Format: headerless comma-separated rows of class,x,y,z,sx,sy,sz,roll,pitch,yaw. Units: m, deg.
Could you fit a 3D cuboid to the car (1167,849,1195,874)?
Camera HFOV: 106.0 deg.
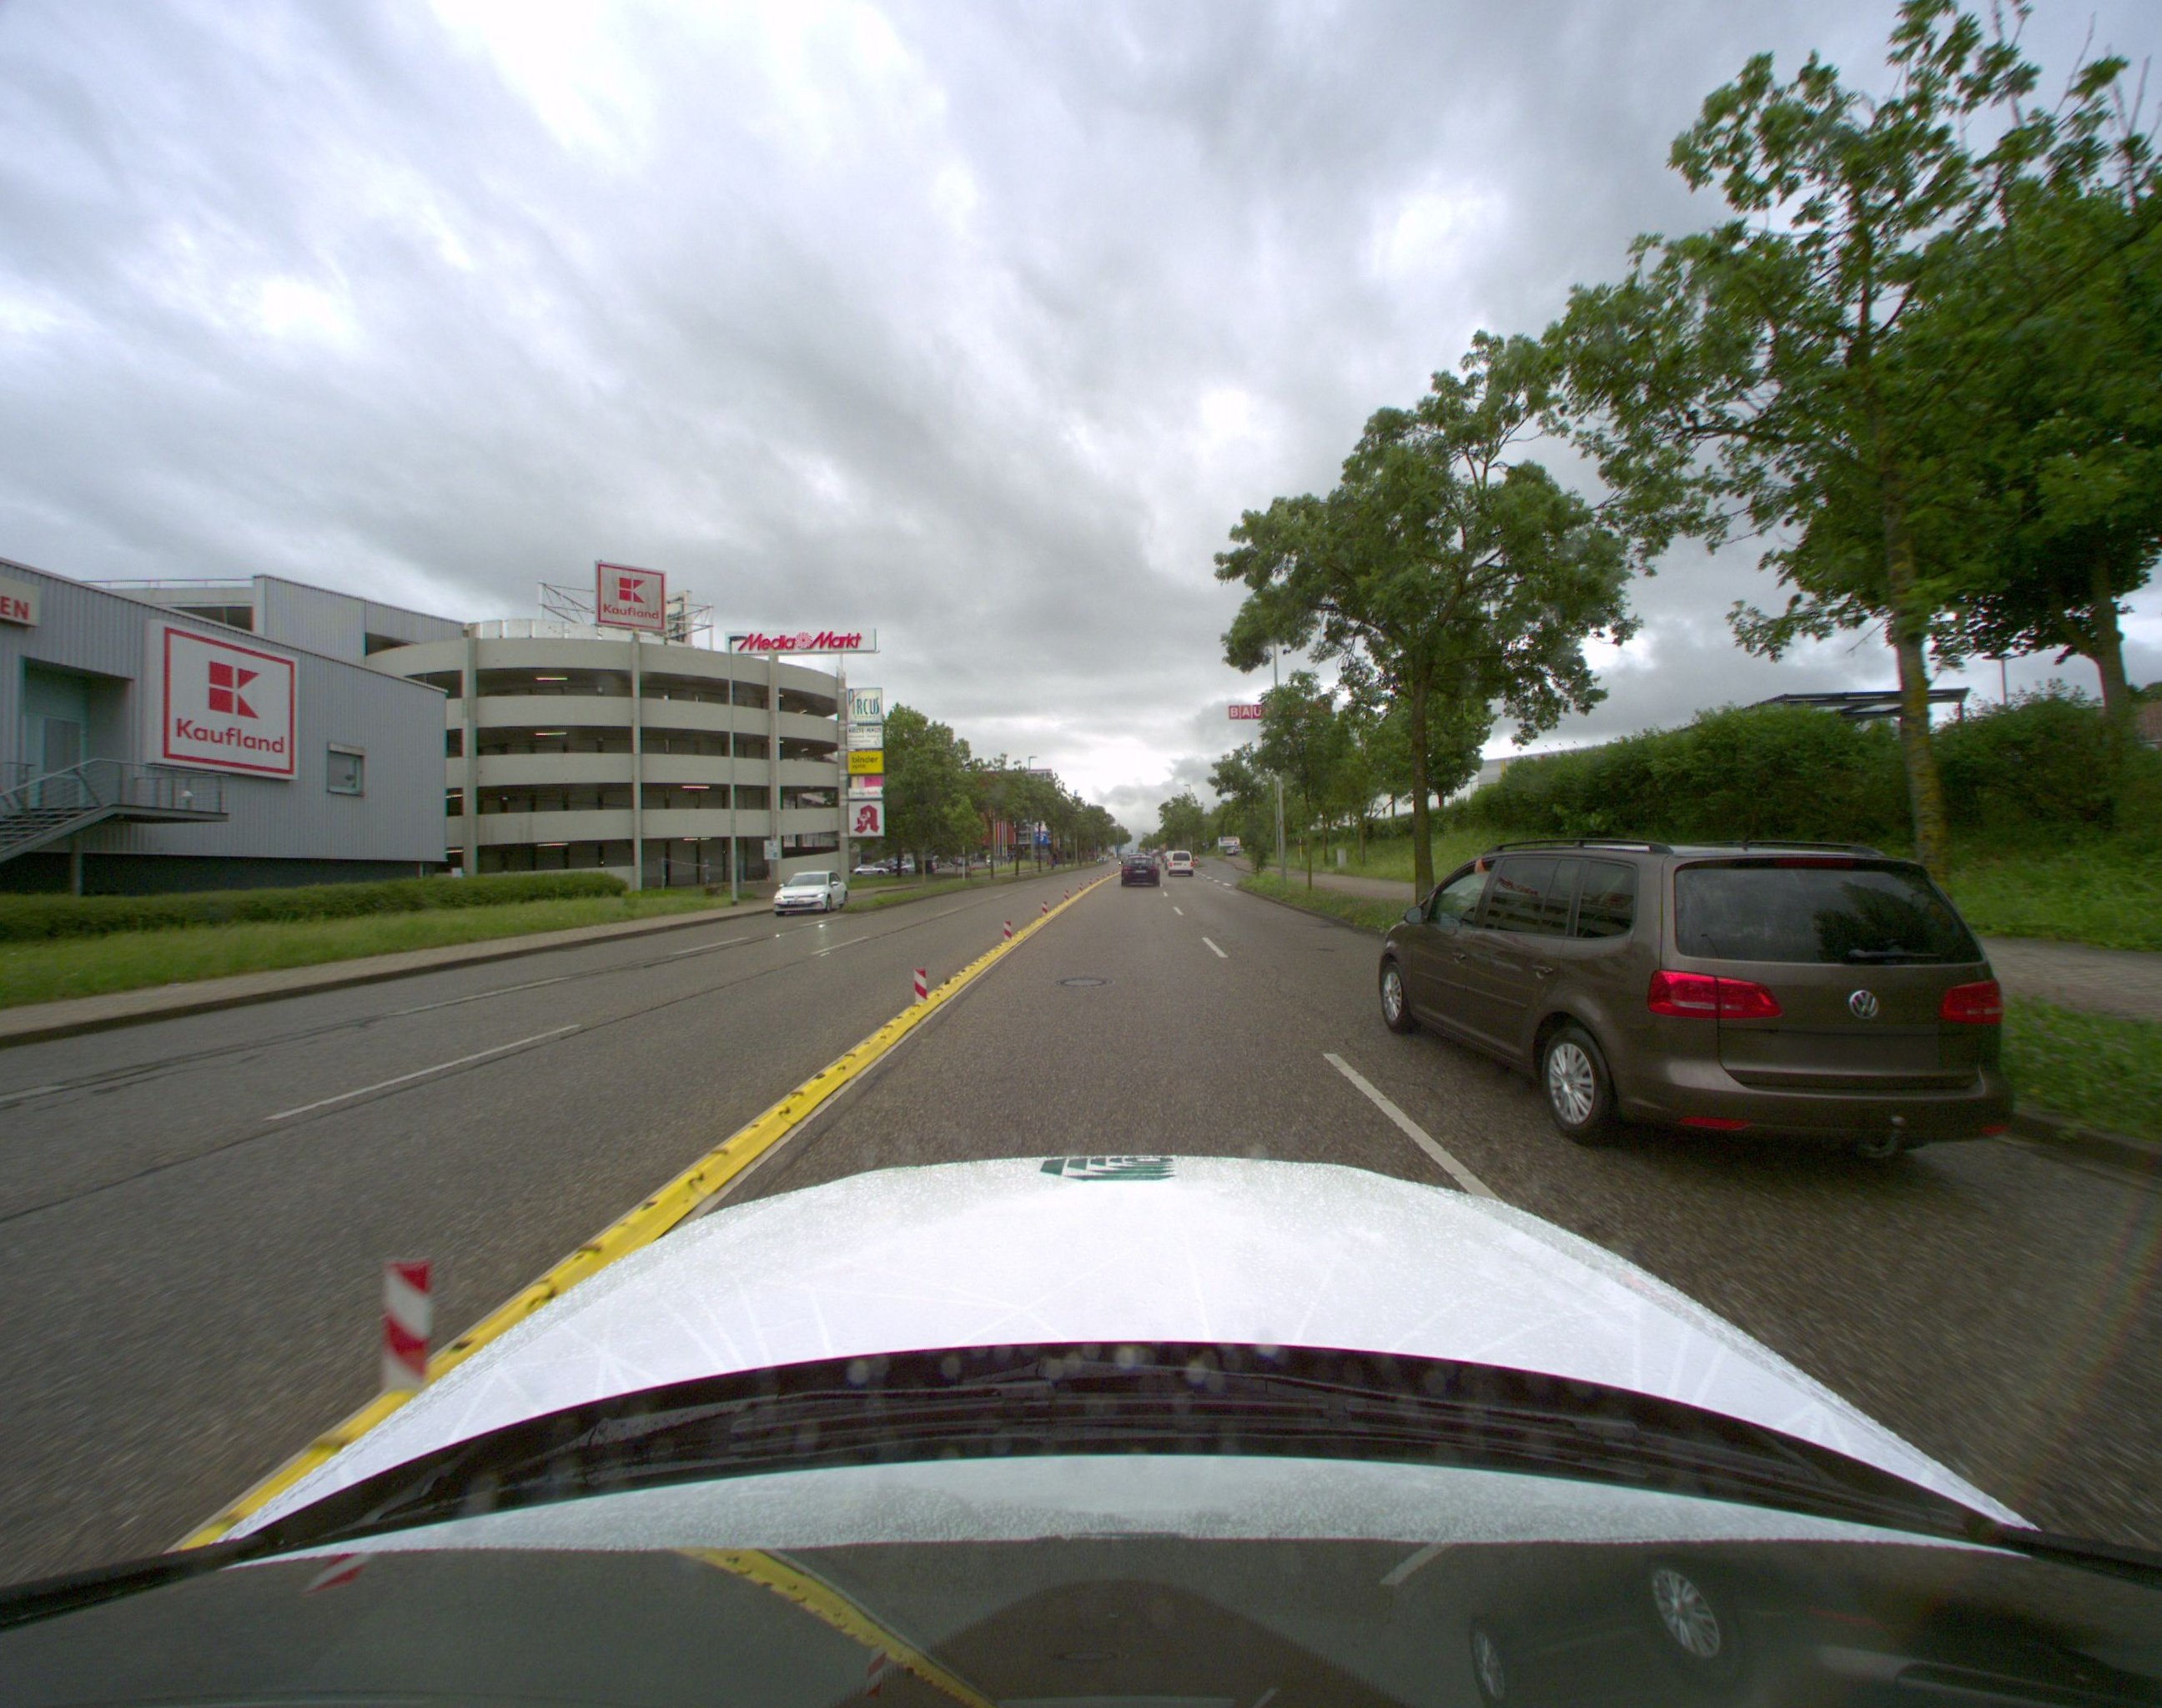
car,7.196,0.517,58.915,1.819,1.759,4.005,0,0,4

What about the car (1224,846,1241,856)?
car,25.181,-0.470,135.522,1.778,1.510,4.023,0,-1,26

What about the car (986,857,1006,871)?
car,-11.964,1.391,114.903,2.031,1.762,4.949,0,1,2

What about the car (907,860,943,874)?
car,-20.826,1.697,108.594,4.489,1.745,1.898,-1,1,-3

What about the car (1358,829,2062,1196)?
car,3.433,0.685,5.627,1.679,1.581,4.219,0,0,1

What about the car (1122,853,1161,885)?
car,2.960,0.706,39.899,1.819,1.468,4.005,0,0,4

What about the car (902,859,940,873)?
car,-20.752,1.576,105.750,4.588,1.745,1.965,-1,1,-3

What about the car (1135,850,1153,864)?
car,6.777,0.358,87.637,1.786,1.510,4.003,0,-1,3

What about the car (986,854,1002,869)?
car,-12.930,1.086,120.672,2.109,2.096,5.116,-1,1,-4

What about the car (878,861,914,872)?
car,-26.029,1.734,114.578,4.600,1.510,2.023,-1,1,-3

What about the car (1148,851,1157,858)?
car,15.475,0.096,177.034,1.787,1.510,4.001,0,-1,2

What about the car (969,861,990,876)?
car,-12.479,1.746,100.465,1.926,1.608,4.711,0,1,0

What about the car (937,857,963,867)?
car,-21.782,1.351,135.476,4.100,1.510,1.817,-1,1,-3

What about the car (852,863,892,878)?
car,-25.750,1.987,100.508,4.593,1.745,1.963,-1,1,-7

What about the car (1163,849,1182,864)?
car,9.051,0.276,80.716,1.786,1.510,4.004,0,-1,4

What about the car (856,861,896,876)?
car,-26.065,1.874,103.523,4.593,1.745,2.129,-1,1,-7

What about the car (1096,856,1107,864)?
car,4.261,1.203,164.888,1.858,1.553,4.581,-4,0,5

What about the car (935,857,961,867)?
car,-21.739,1.352,133.237,4.100,1.510,1.817,-1,1,-3

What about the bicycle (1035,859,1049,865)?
bicycle,-6.385,1.307,133.452,2.064,0.935,1.096,3,0,9

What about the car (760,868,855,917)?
car,-9.518,1.279,28.772,1.894,1.408,4.421,-3,0,-2

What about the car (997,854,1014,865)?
car,-12.633,0.889,135.818,2.129,1.773,4.612,0,1,3

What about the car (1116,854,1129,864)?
car,6.487,0.822,126.152,1.819,1.466,4.621,-2,0,4

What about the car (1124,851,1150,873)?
car,4.098,0.568,59.360,1.786,1.510,4.004,0,-1,4
